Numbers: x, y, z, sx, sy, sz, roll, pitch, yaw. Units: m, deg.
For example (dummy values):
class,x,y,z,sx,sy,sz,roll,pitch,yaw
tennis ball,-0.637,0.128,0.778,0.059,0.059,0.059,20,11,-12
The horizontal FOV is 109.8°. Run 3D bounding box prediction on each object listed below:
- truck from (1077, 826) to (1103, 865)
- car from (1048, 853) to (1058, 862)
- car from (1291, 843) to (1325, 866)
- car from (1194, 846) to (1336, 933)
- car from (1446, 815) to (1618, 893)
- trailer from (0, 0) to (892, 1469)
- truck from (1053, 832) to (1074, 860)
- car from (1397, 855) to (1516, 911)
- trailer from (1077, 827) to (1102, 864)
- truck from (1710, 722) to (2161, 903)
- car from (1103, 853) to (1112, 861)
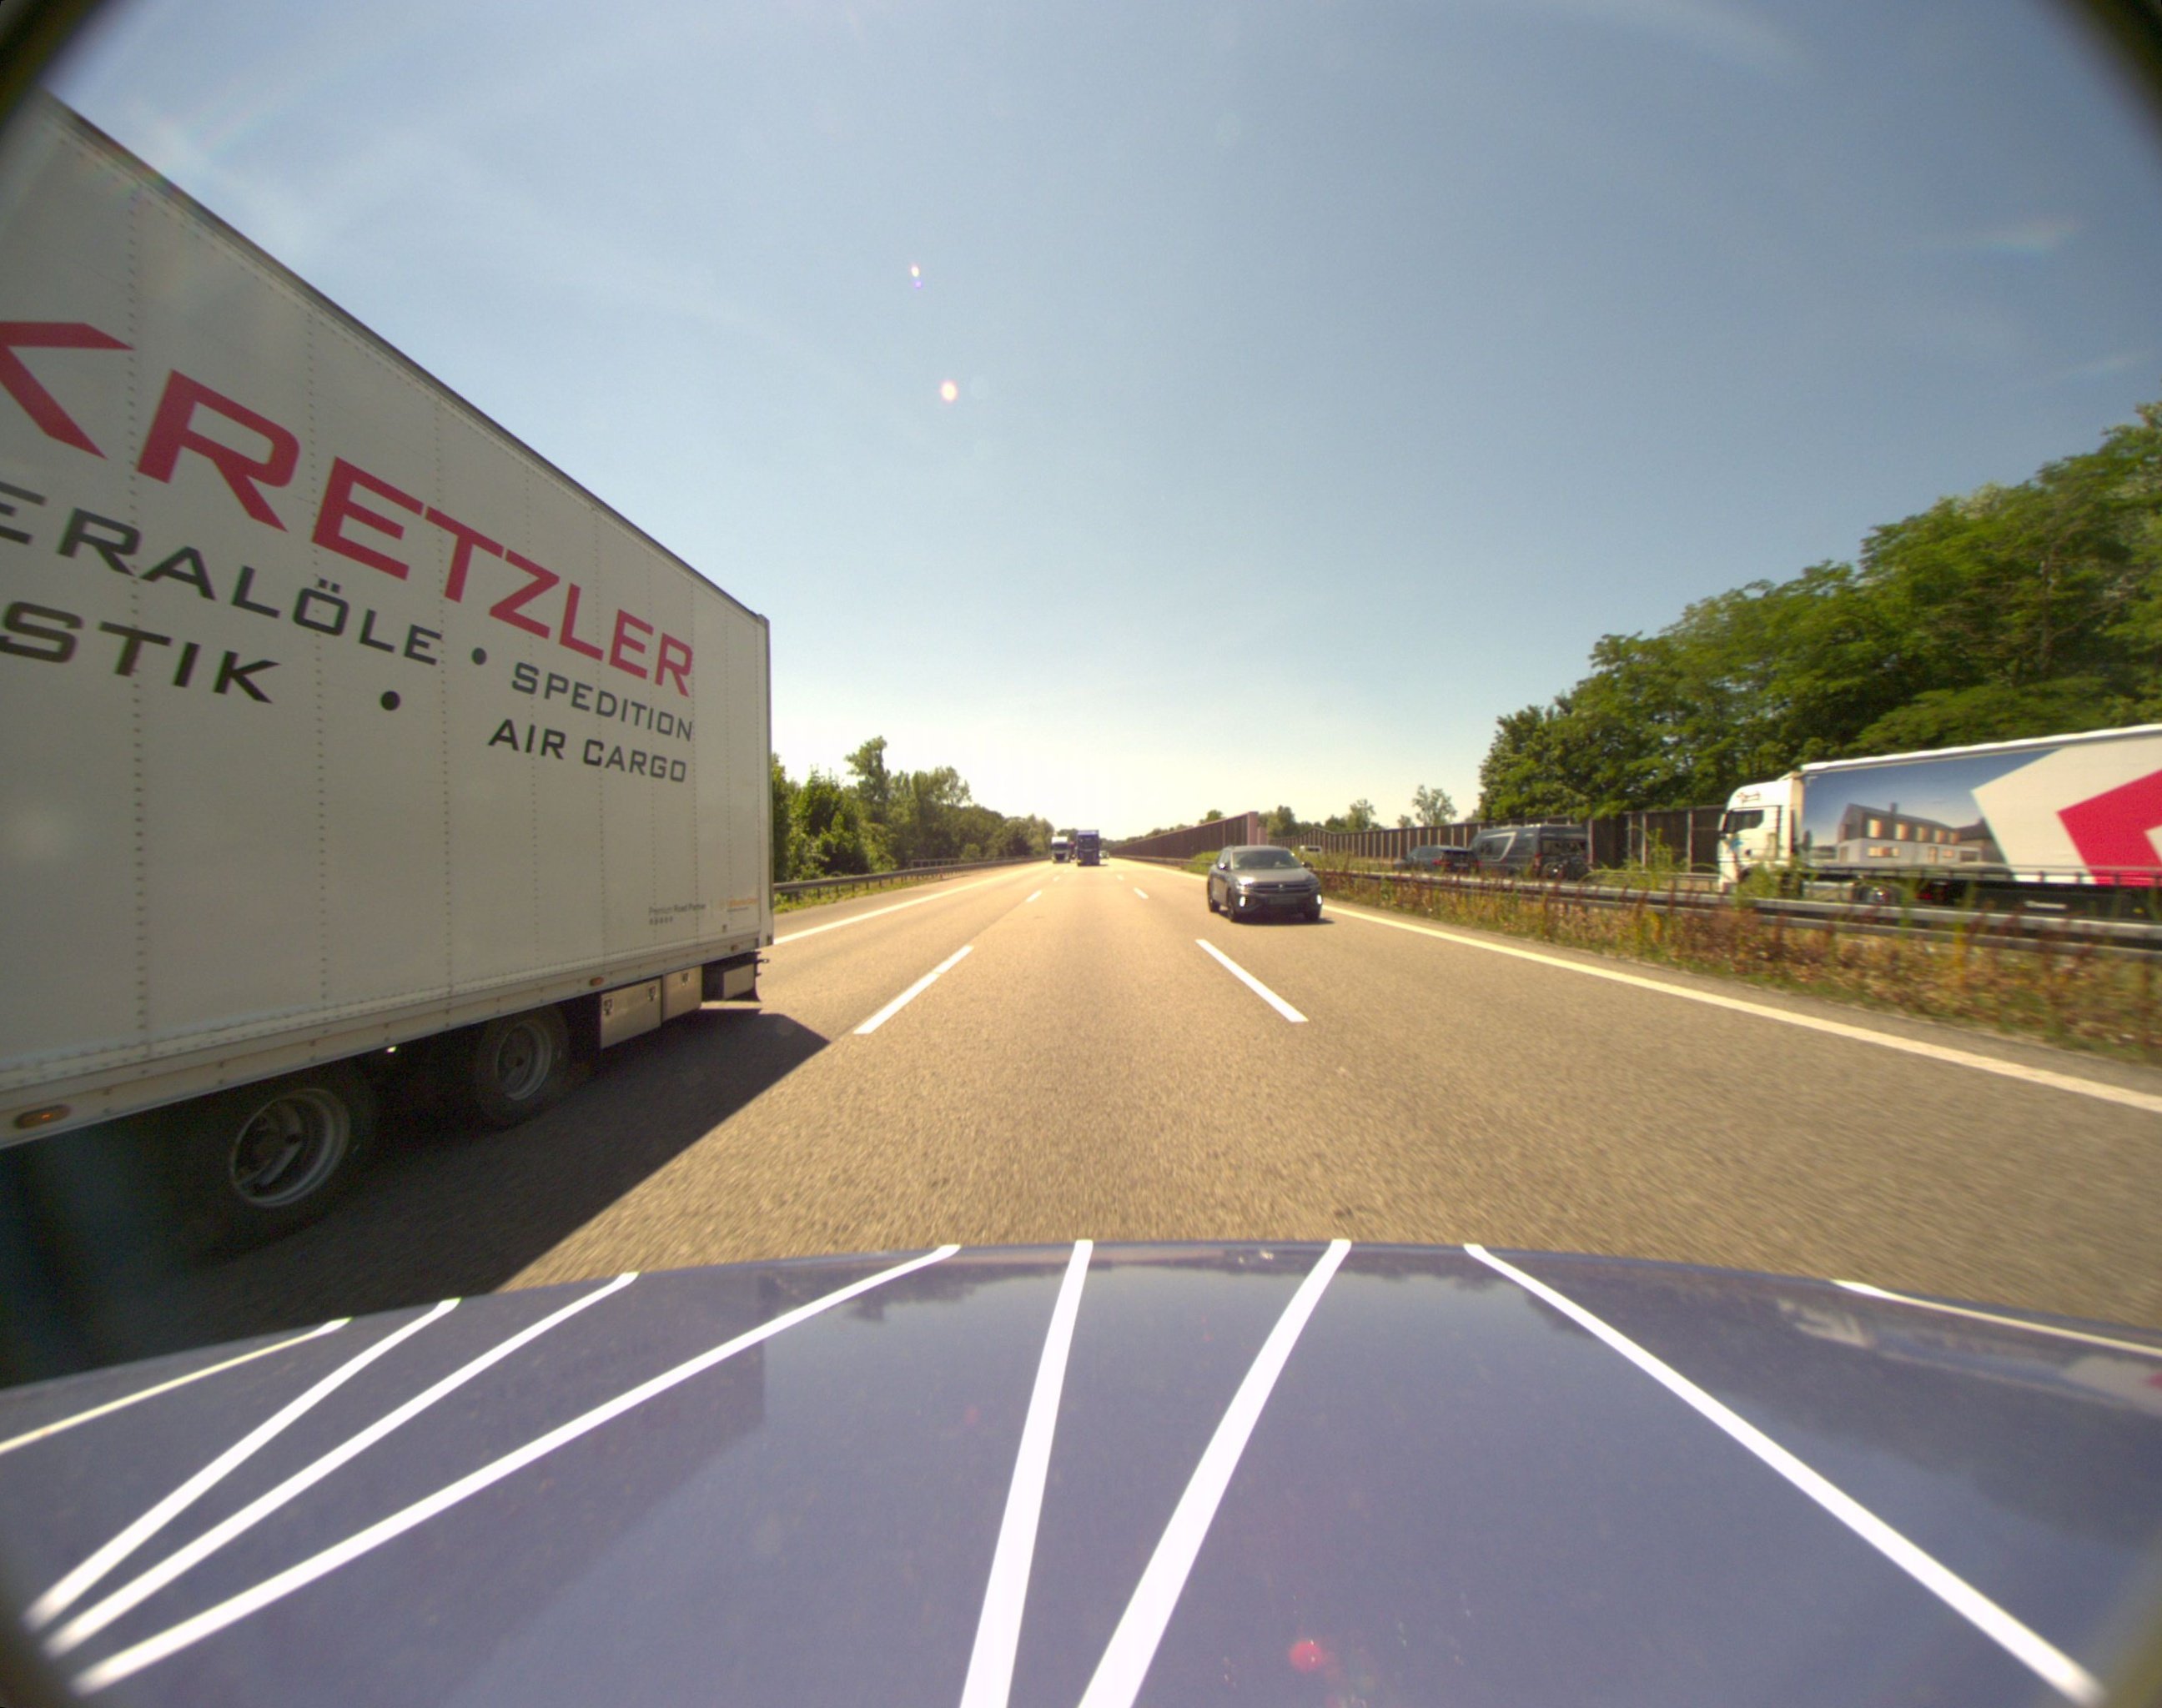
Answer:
class,x,y,z,sx,sy,sz,roll,pitch,yaw
truck,0.988,-0.904,84.487,2.707,4.093,6.990,-1,0,0
car,-6.008,0.715,163.443,1.935,1.805,4.000,-1,0,-1
car,22.080,0.044,74.145,1.894,2.075,4.766,-1,0,1
car,3.867,0.690,16.919,1.885,1.630,5.008,-1,0,0
car,17.530,-0.030,30.252,2.321,2.548,7.584,-5,0,1
trailer,-4.664,-0.644,4.258,3.277,4.809,14.030,-1,0,1
truck,-2.708,-1.179,117.641,2.820,4.139,10.448,-1,0,0
car,13.071,0.936,26.874,1.782,1.740,5.080,-1,1,1
trailer,1.065,-0.893,91.549,2.707,4.093,12.132,-1,0,1
truck,21.384,-0.793,15.809,2.845,3.322,17.005,-1,0,1
car,5.852,0.669,168.688,2.045,1.559,4.000,-1,0,1
